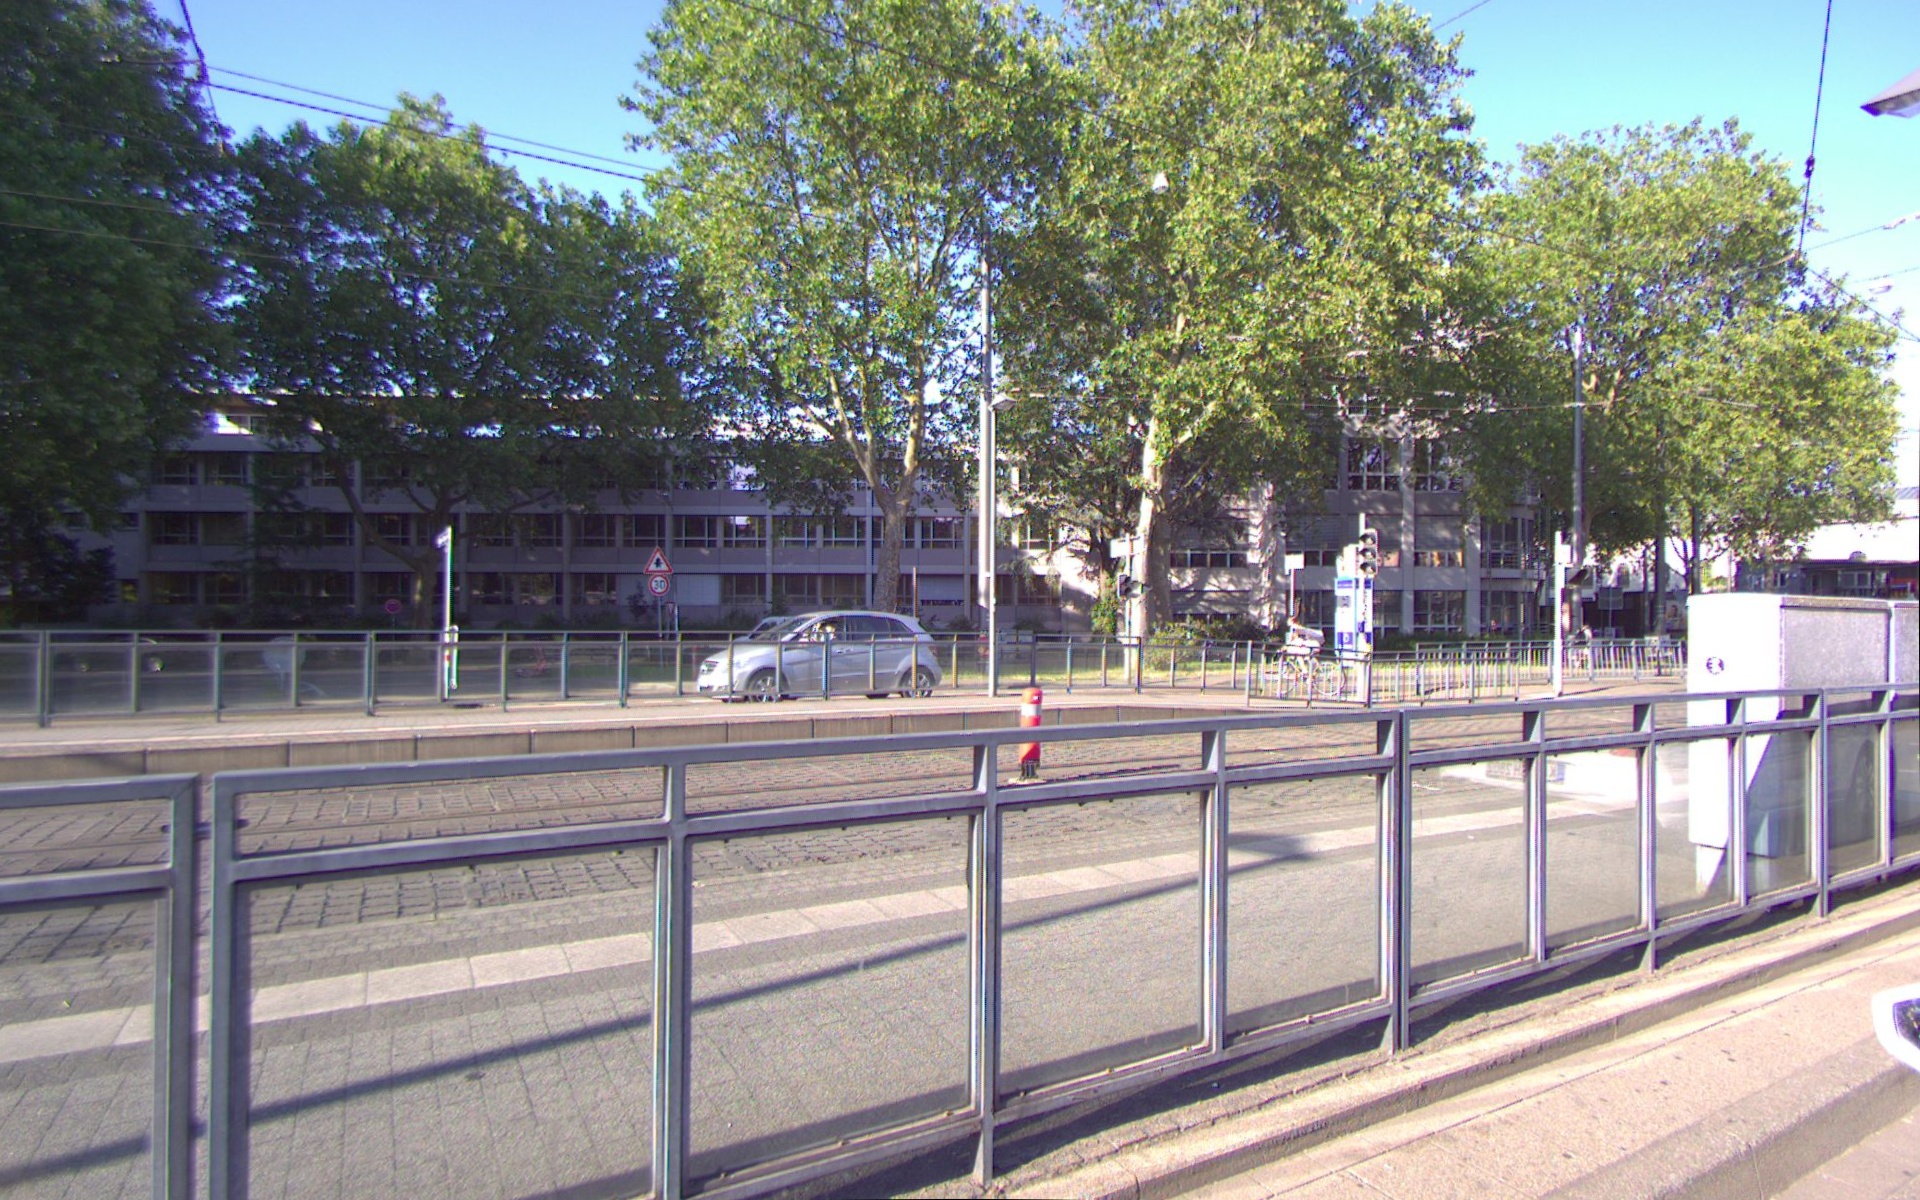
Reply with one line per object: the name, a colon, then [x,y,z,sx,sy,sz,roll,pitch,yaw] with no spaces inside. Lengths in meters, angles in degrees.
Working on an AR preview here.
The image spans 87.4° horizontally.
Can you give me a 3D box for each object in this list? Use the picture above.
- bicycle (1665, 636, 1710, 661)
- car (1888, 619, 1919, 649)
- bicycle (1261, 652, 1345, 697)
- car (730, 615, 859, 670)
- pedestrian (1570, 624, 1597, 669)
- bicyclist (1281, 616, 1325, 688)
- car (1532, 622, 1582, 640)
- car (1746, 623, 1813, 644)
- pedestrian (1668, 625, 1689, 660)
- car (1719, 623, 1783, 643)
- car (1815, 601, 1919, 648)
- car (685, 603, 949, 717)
bicycle: [35.724,2.375,49.361,0.494,1.122,1.788,1,-1,-27]
car: [64.662,2.289,67.247,3.929,1.982,1.796,1,-1,-11]
bicycle: [7.069,1.520,20.704,1.586,0.827,0.527,0,-1,27]
car: [-7.449,1.929,45.681,5.616,2.366,2.156,1,0,-6]
pedestrian: [21.949,1.627,35.353,0.669,1.572,0.533,1,0,-30]
bicyclist: [7.075,1.062,20.705,0.788,1.433,0.527,1,0,27]
car: [54.022,2.809,91.034,1.767,1.530,3.994,1,-1,-8]
car: [63.714,2.604,78.143,3.925,1.530,1.798,1,-1,-6]
pedestrian: [35.241,2.087,49.268,0.642,1.683,0.646,1,0,-27]
car: [63.728,2.623,80.928,3.925,1.530,1.798,1,-1,-6]
car: [64.022,1.705,70.484,6.413,3.207,2.501,1,-1,-7]
car: [-2.416,0.968,17.291,4.115,1.715,1.805,1,0,-32]
